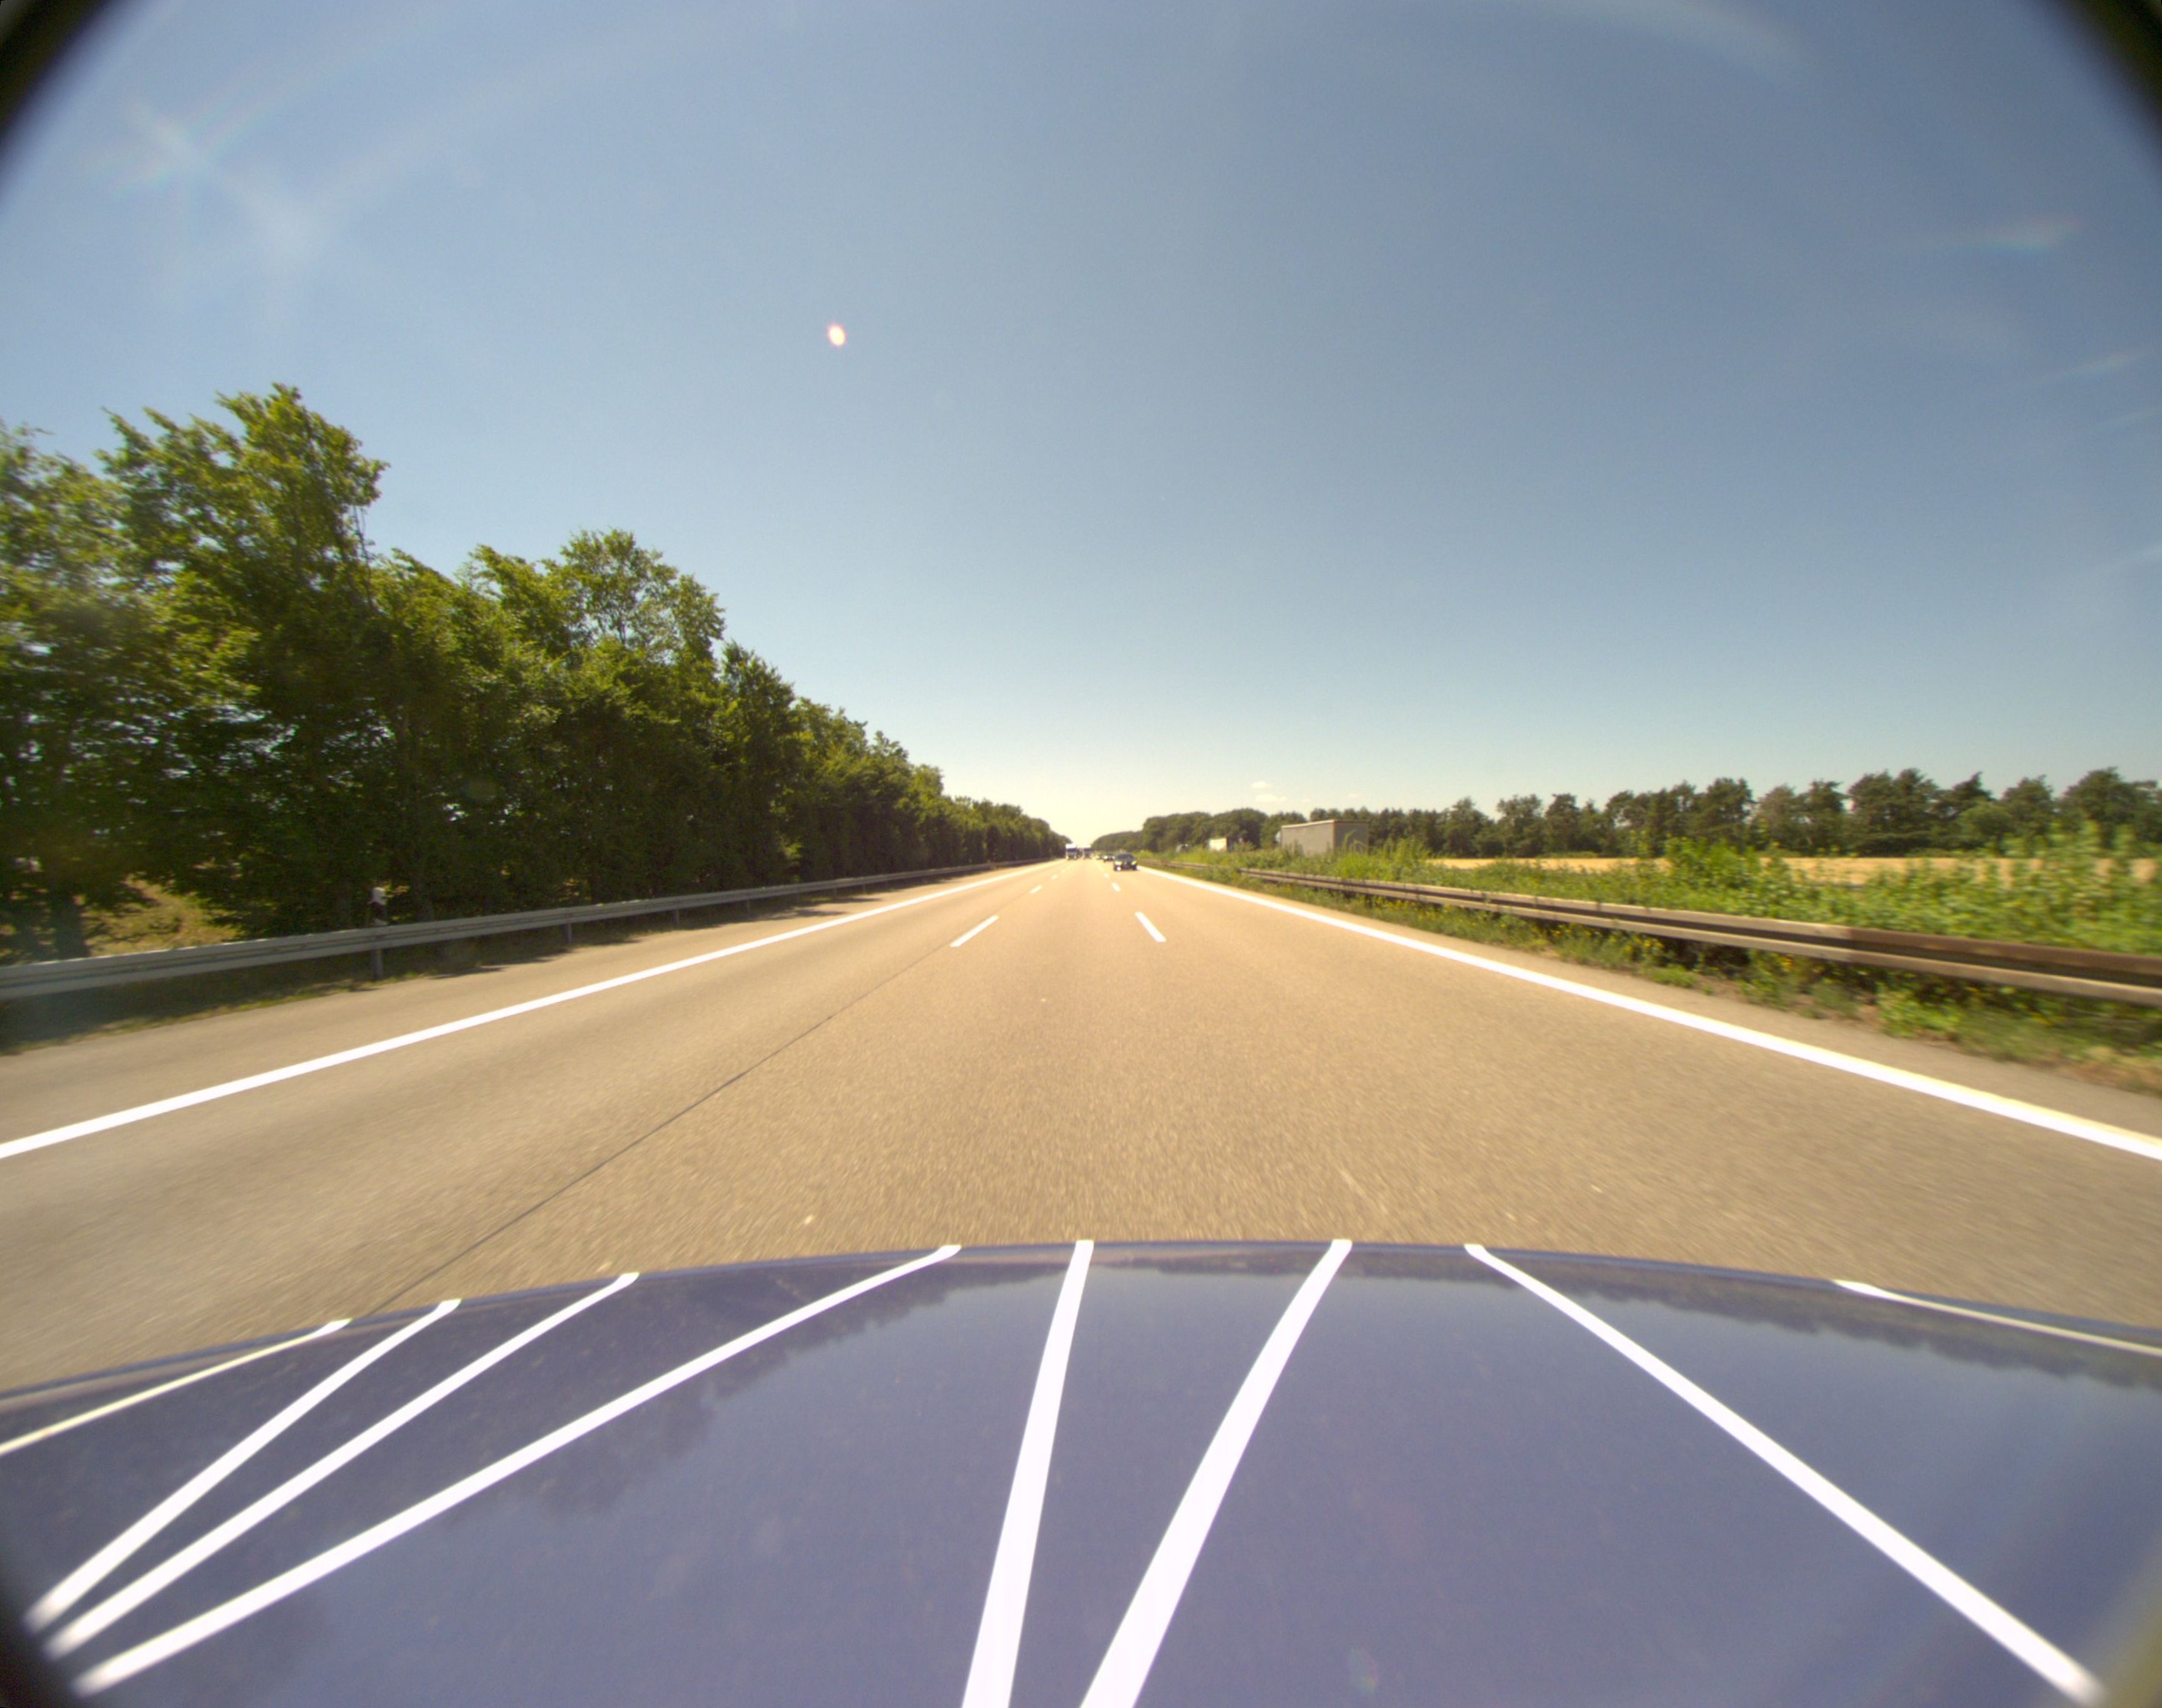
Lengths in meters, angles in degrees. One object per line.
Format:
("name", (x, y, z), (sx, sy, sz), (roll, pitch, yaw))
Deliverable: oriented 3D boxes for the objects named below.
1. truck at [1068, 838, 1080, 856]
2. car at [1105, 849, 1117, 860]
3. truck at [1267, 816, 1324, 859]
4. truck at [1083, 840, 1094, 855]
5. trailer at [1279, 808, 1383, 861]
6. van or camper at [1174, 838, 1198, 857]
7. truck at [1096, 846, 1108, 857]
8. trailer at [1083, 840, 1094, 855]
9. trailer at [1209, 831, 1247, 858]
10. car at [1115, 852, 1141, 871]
("truck", (-1.799, -1.746, 195.048), (2.863, 4.247, 6.863), (-2, 0, -1))
("car", (4.825, 0.070, 123.592), (1.806, 1.774, 4.000), (-1, 1, 1))
("truck", (19.551, -1.442, 69.689), (3.358, 3.677, 6.063), (-2, 0, -1))
("truck", (2.223, -1.927, 218.276), (2.863, 4.247, 5.411), (-2, 0, 0))
("trailer", (19.681, -1.417, 61.372), (3.358, 3.677, 14.380), (-2, 0, -1))
("van or camper", (17.724, -1.075, 129.014), (2.617, 3.083, 11.510), (-1, 0, 1))
("truck", (4.919, -0.550, 178.941), (2.576, 2.461, 5.614), (-2, 0, 0))
("trailer", (2.247, -1.954, 225.193), (2.863, 4.247, 11.471), (-2, 0, 0))
("trailer", (22.074, -1.336, 114.834), (3.117, 3.677, 14.382), (-2, 0, 1))
("car", (3.856, 0.618, 63.352), (1.811, 1.399, 3.999), (-2, 0, -1))
